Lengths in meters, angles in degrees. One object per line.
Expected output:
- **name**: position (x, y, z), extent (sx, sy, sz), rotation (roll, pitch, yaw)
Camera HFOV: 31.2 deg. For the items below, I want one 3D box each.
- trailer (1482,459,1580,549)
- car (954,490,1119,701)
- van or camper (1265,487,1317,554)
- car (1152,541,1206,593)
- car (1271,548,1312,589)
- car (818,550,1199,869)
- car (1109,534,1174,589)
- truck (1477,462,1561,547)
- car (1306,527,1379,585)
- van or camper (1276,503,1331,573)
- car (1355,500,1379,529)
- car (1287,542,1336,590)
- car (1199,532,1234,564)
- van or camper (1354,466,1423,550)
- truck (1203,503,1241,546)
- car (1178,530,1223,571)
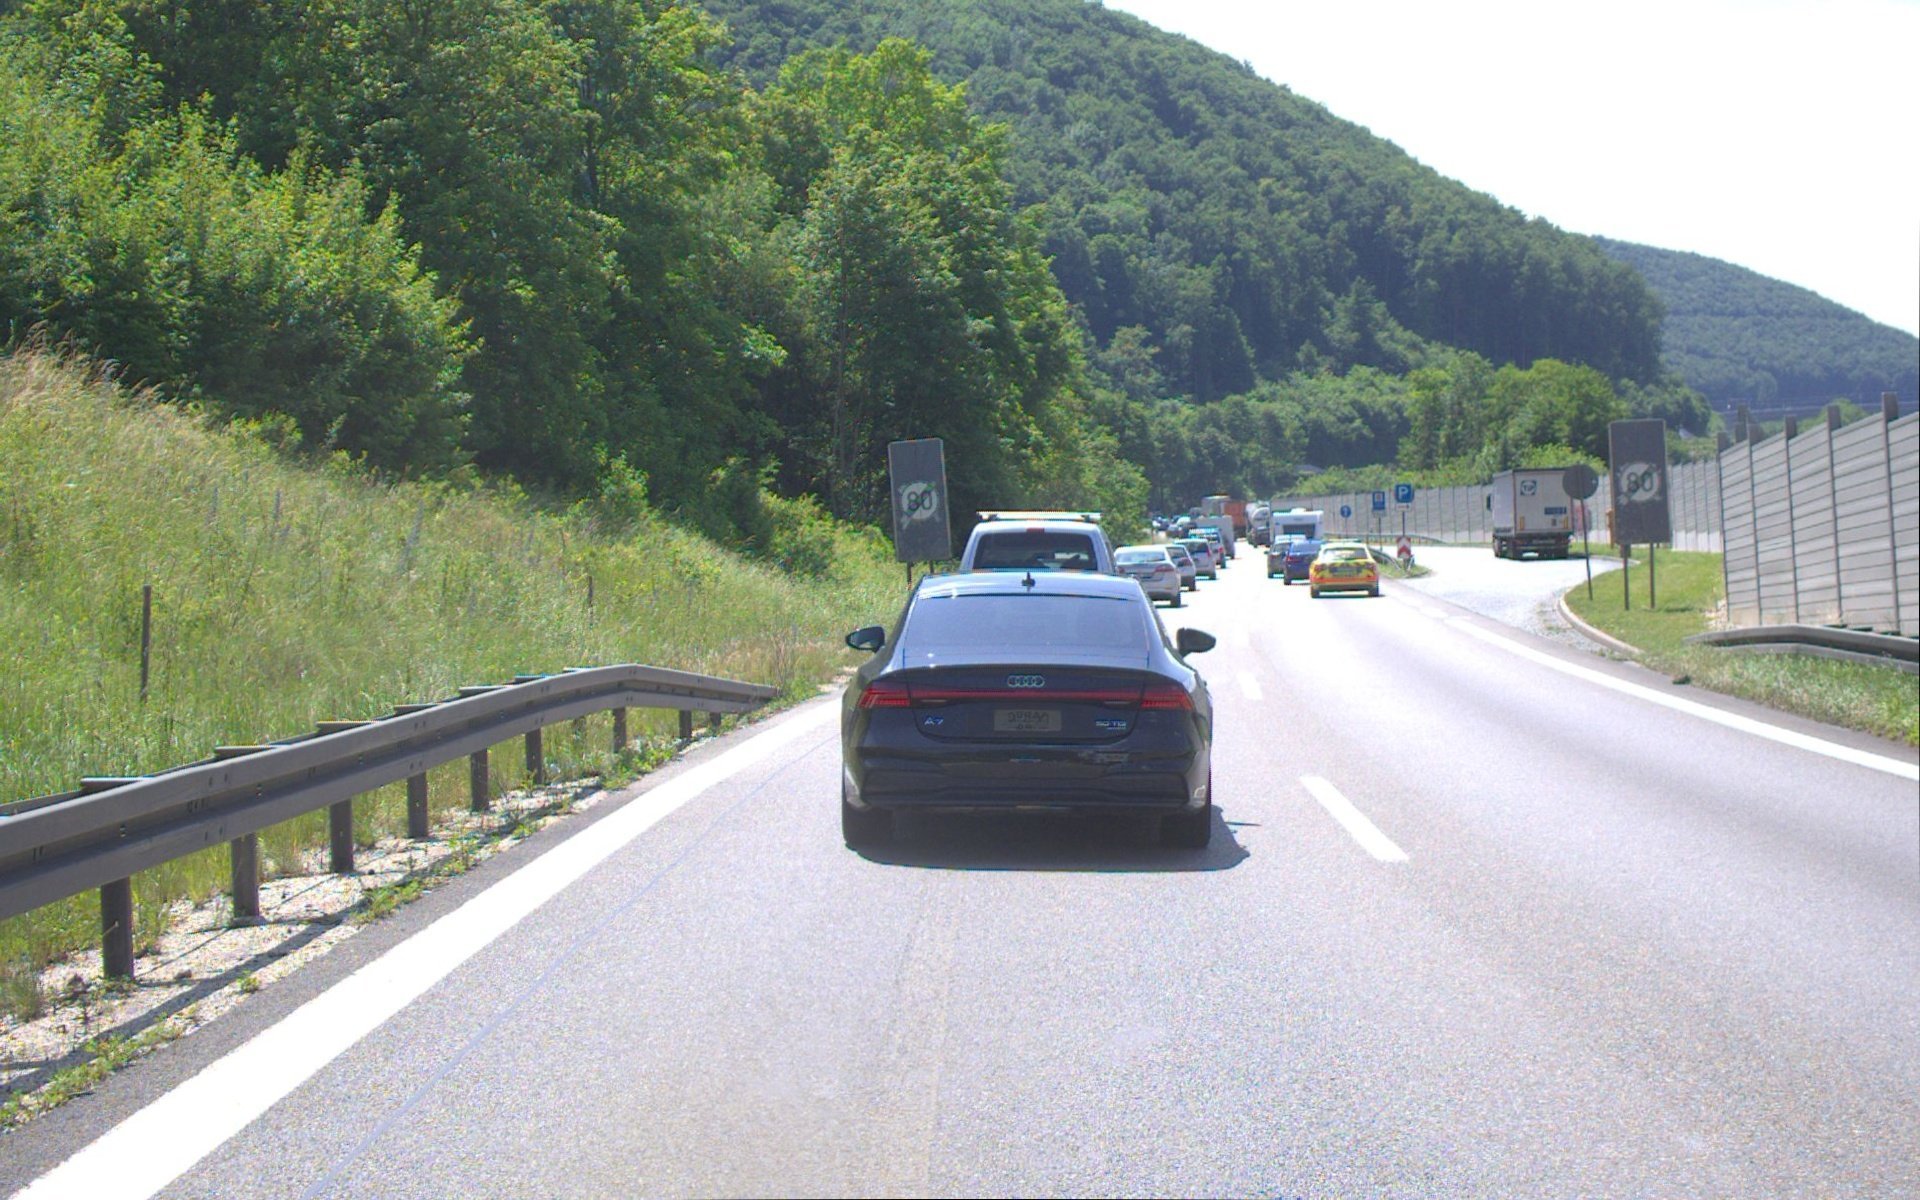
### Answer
- **trailer**: position (25.575, -4.278, 154.349), extent (3.412, 3.887, 11.150), rotation (0, 1, 5)
- **car**: position (0.752, -0.069, 34.555), extent (1.521, 1.961, 3.514), rotation (2, 1, 1)
- **van or camper**: position (19.826, -4.728, 206.427), extent (2.795, 3.894, 6.166), rotation (1, 0, 3)
- **car**: position (6.859, -1.032, 107.300), extent (1.521, 1.547, 3.514), rotation (2, 1, 6)
- **car**: position (12.726, -1.206, 132.198), extent (1.530, 1.520, 3.596), rotation (1, 0, 5)
- **car**: position (0.276, 0.496, 18.146), extent (1.812, 1.509, 3.514), rotation (0, 1, 2)
- **car**: position (4.389, -0.932, 83.467), extent (1.521, 1.290, 3.514), rotation (-1, 1, 3)
- **truck**: position (26.042, -4.423, 160.313), extent (3.412, 3.887, 5.387), rotation (0, 1, 5)
- **car**: position (10.296, -1.193, 92.753), extent (1.879, 1.493, 3.999), rotation (0, 1, 5)
- **van or camper**: position (15.886, -2.828, 159.246), extent (2.430, 3.144, 5.202), rotation (1, 0, 5)
- **car**: position (28.771, -6.066, 243.164), extent (1.576, 2.007, 3.427), rotation (-1, 1, 5)
- **car**: position (11.387, -1.103, 111.534), extent (1.530, 1.520, 3.596), rotation (1, 0, 5)
- **car**: position (12.626, -2.552, 169.061), extent (1.521, 1.547, 3.513), rotation (2, 1, 7)
- **van or camper**: position (20.431, -4.363, 164.253), extent (2.795, 3.828, 6.166), rotation (1, 0, 3)
- **truck**: position (16.365, -4.689, 214.756), extent (2.065, 2.596, 5.612), rotation (2, 1, 7)
- **car**: position (9.390, -1.936, 134.076), extent (1.521, 1.547, 3.513), rotation (2, 1, 7)
